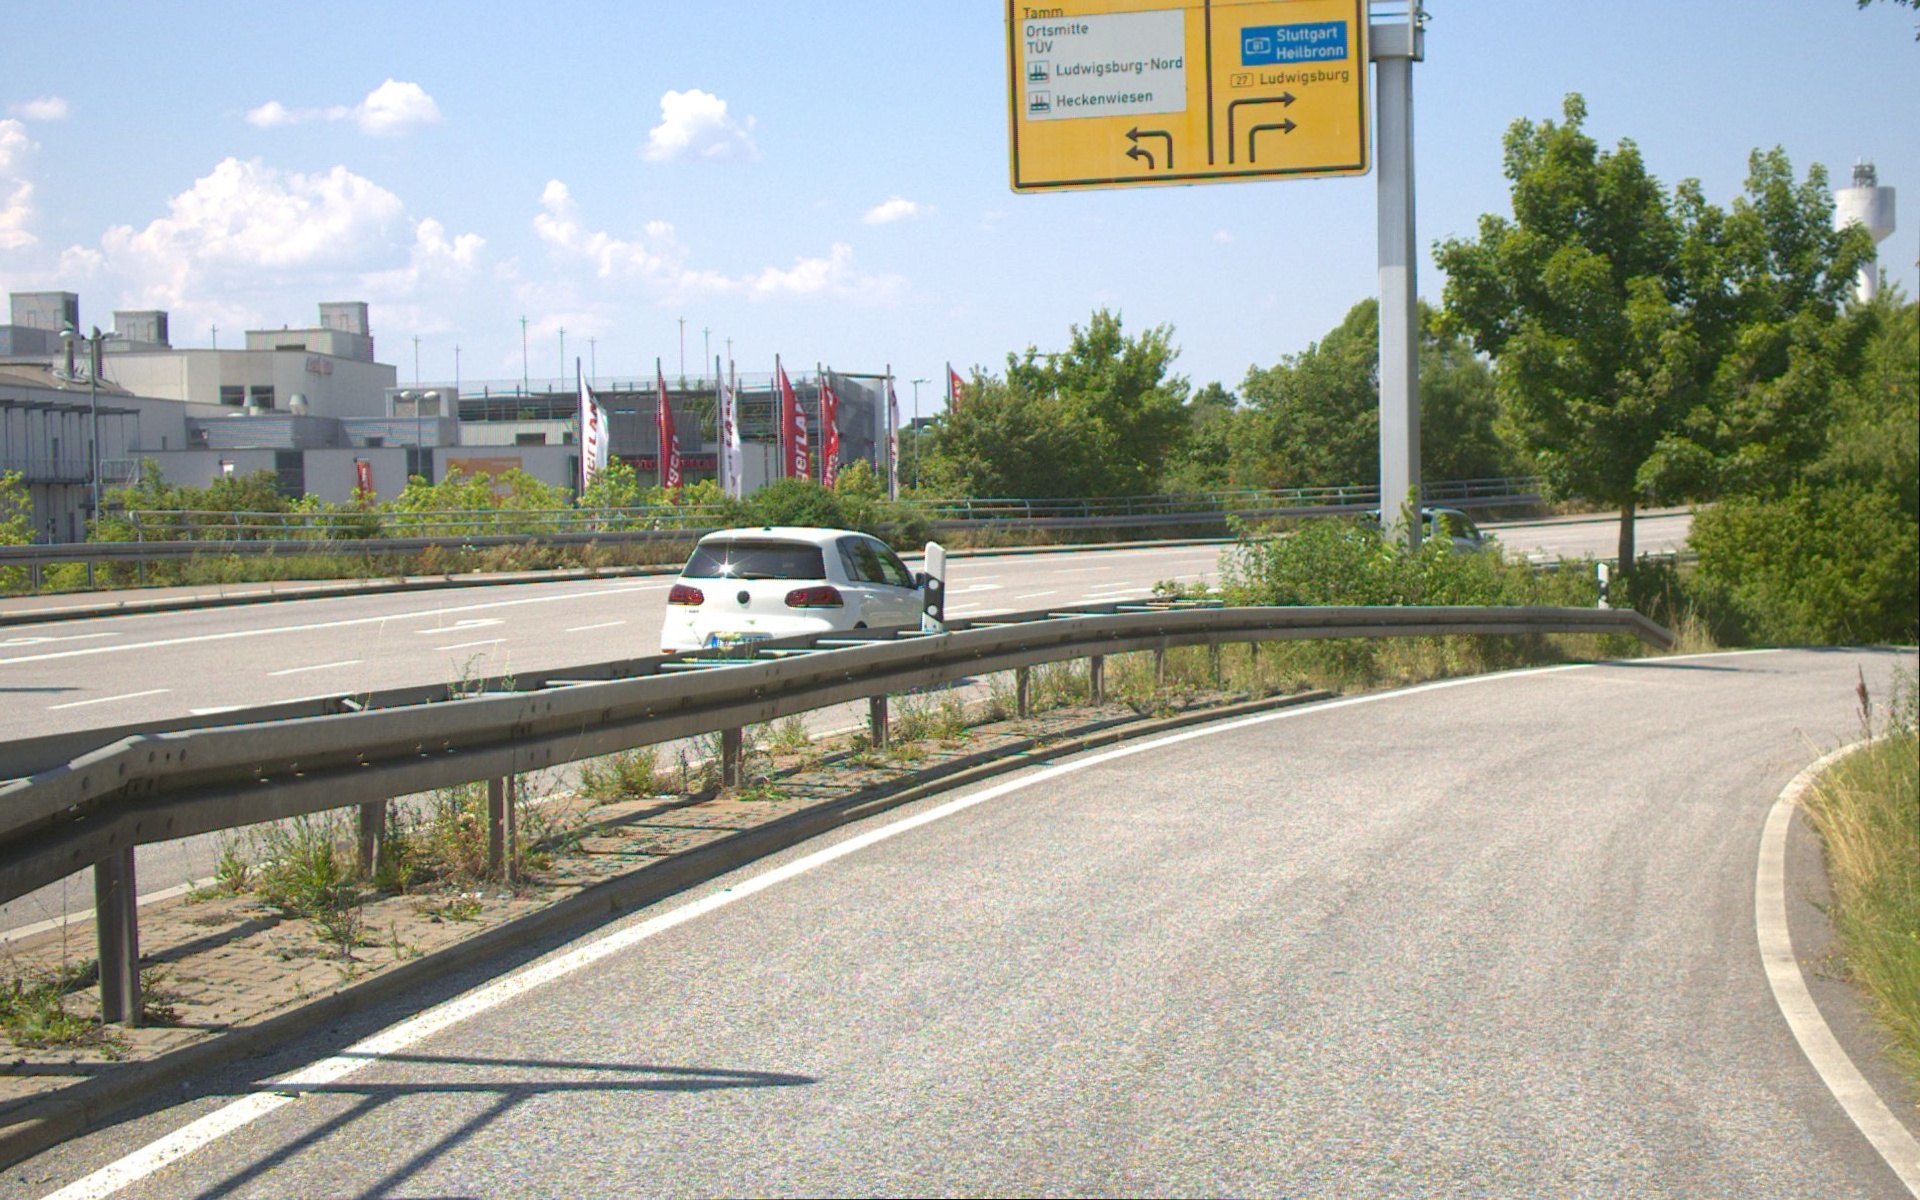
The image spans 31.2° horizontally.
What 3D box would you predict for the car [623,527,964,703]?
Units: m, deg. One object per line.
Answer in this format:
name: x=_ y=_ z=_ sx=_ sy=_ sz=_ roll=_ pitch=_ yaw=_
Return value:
car: x=-1.434 y=0.094 z=31.450 sx=1.995 sy=1.481 sz=4.133 roll=1 pitch=1 yaw=14
